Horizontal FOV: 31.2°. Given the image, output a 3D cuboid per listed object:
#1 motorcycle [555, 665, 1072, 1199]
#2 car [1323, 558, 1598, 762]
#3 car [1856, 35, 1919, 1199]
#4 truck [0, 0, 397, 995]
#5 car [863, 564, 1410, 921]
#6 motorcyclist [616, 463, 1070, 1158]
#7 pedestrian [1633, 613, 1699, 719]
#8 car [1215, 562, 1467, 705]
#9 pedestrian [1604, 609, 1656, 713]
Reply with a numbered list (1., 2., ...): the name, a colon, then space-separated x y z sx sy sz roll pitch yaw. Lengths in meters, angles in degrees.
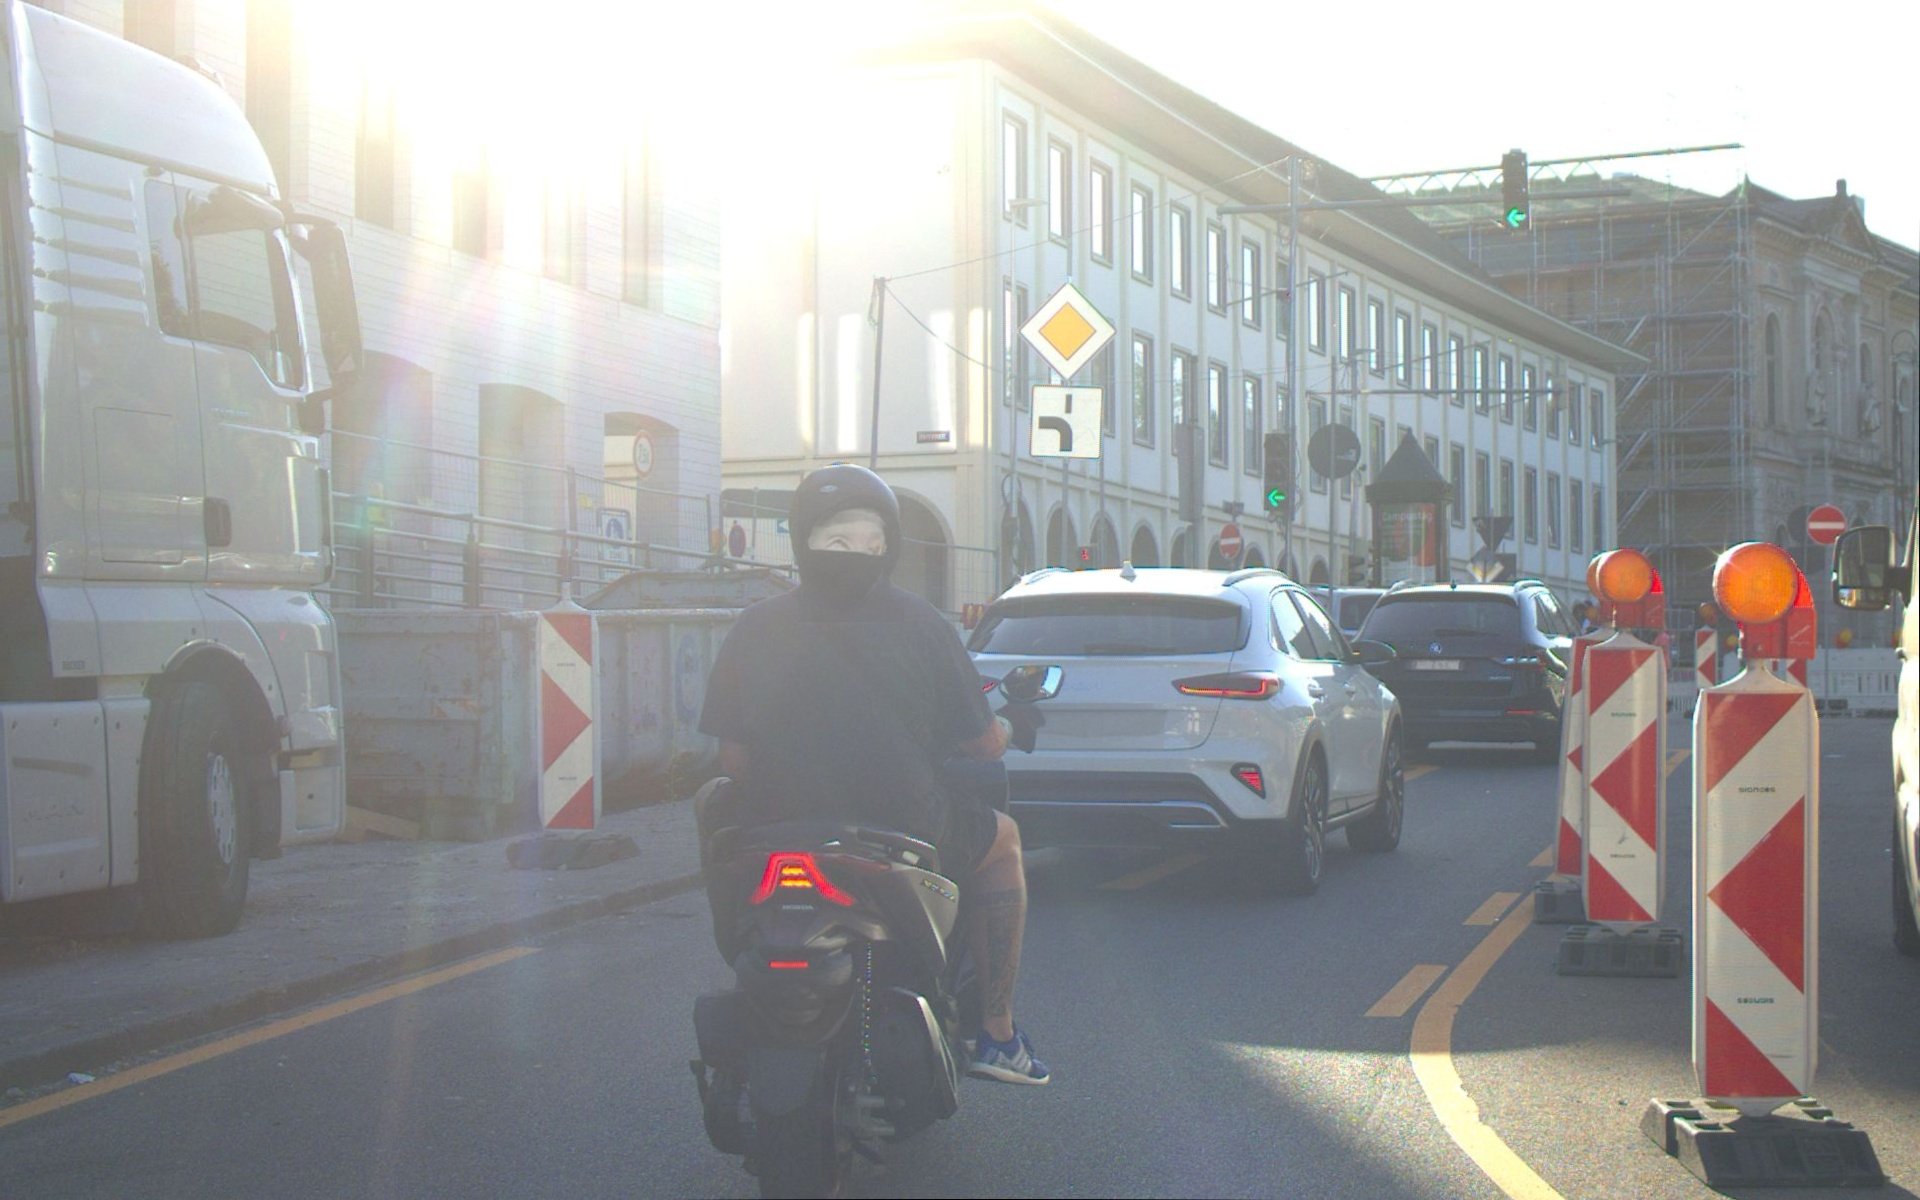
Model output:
1. motorcycle: -0.258 0.782 8.259 0.906 1.179 2.578 0 0 5
2. car: 4.177 0.509 28.213 1.775 1.545 4.103 -1 -1 15
3. car: 3.894 0.056 10.447 2.113 2.616 6.982 0 0 14
4. truck: -4.401 -0.373 11.738 2.581 3.478 5.812 -4 0 14
5. car: 0.992 0.580 16.731 1.860 1.467 3.997 1 1 15
6. motorcyclist: -0.247 0.465 8.346 0.954 1.554 1.239 0 0 5
7. pedestrian: 11.439 1.062 55.700 0.965 1.704 0.675 0 1 19
8. car: 4.813 0.384 44.025 1.803 1.715 4.164 0 1 -15
9. pedestrian: 10.590 0.957 54.330 0.725 1.619 0.619 0 1 19
